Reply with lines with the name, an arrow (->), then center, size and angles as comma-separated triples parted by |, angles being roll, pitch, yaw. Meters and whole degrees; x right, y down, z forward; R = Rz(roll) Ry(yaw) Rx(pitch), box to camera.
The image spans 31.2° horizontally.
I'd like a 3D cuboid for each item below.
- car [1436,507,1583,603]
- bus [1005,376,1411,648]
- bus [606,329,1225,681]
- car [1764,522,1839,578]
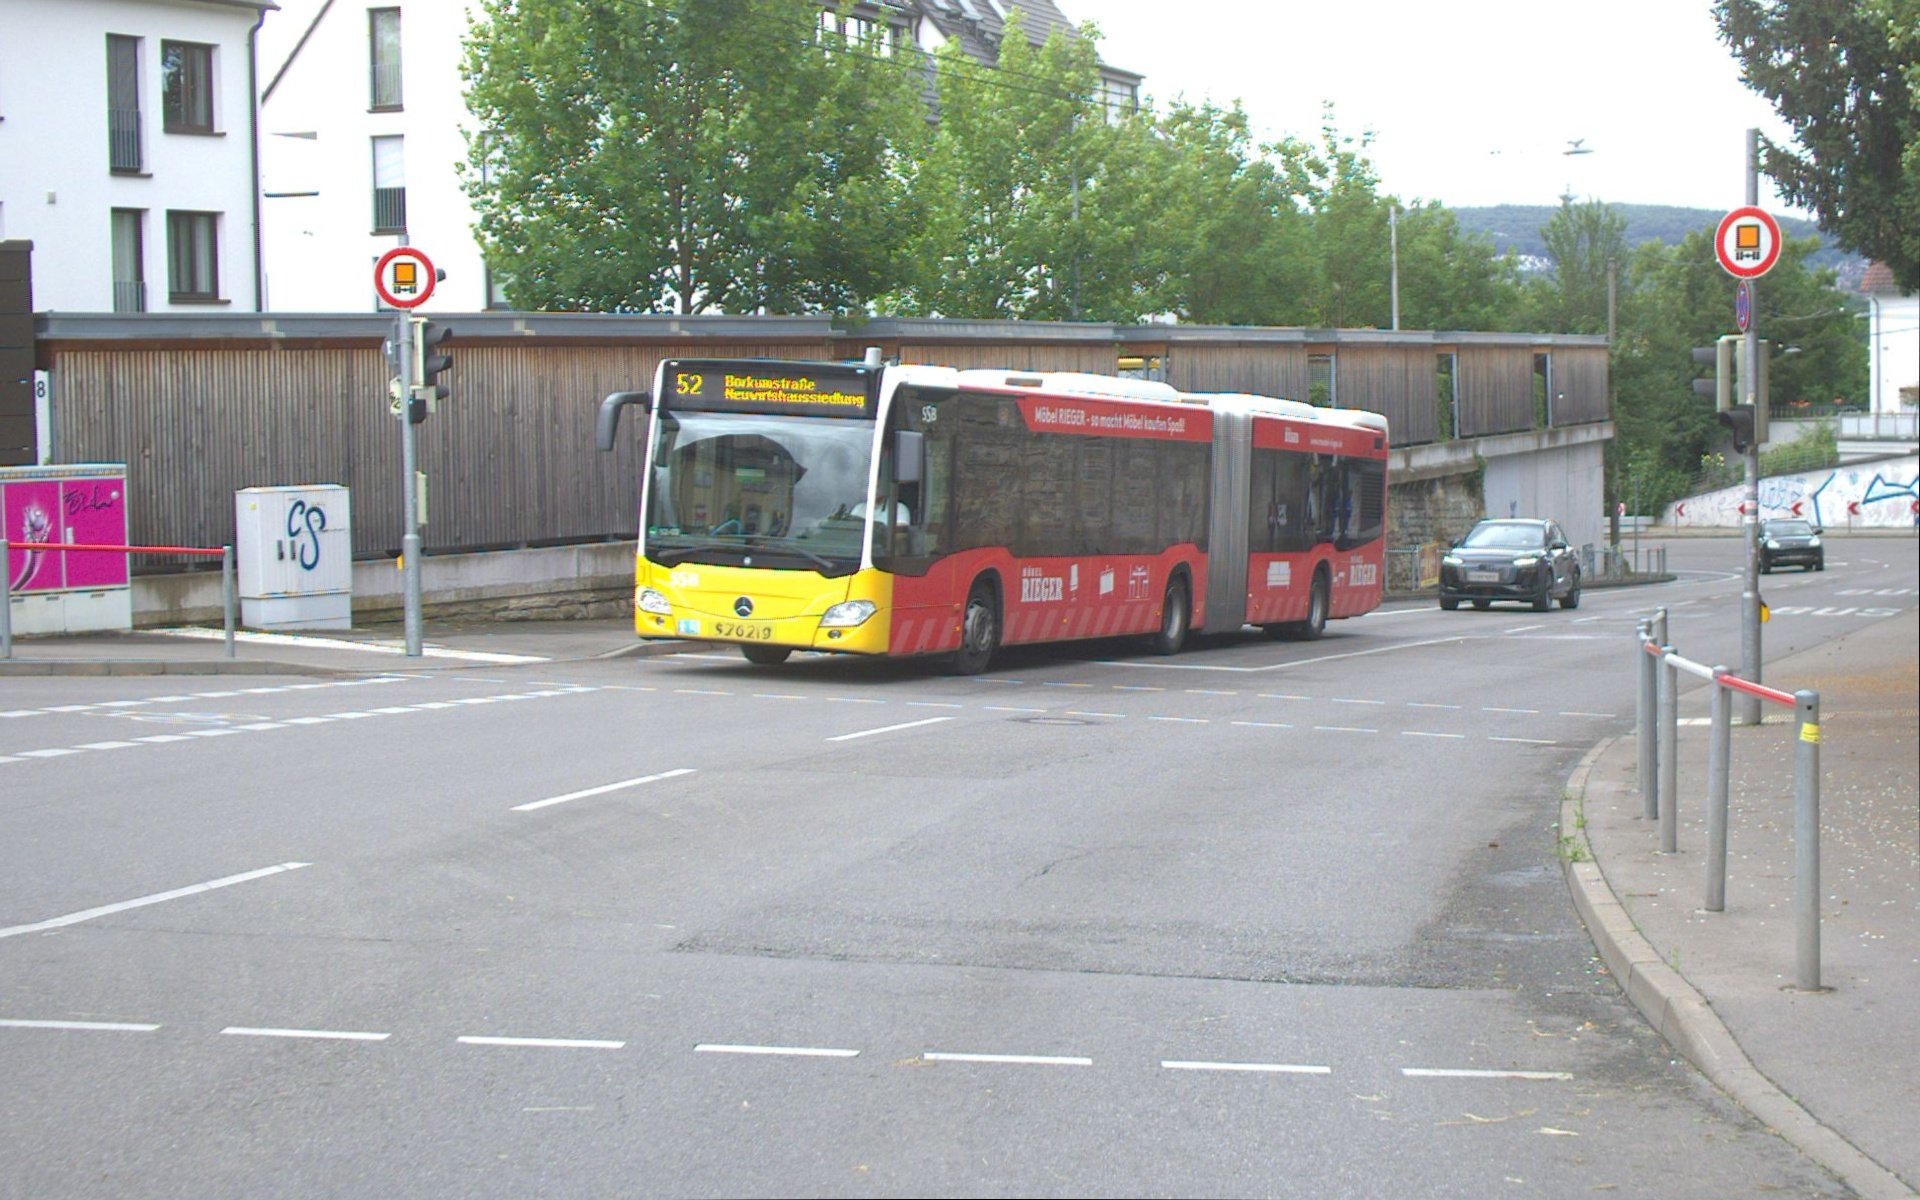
car -> 10.101, -0.809, 62.950 | 1.923, 1.624, 4.519 | 2, 1, 18
bus -> 3.394, -1.120, 44.374 | 2.661, 3.111, 8.283 | 3, 2, 22
bus -> -0.097, -0.969, 35.905 | 2.661, 3.111, 10.008 | 3, 2, 22
car -> 26.636, -1.587, 108.772 | 1.896, 1.750, 4.433 | 0, 1, 19
